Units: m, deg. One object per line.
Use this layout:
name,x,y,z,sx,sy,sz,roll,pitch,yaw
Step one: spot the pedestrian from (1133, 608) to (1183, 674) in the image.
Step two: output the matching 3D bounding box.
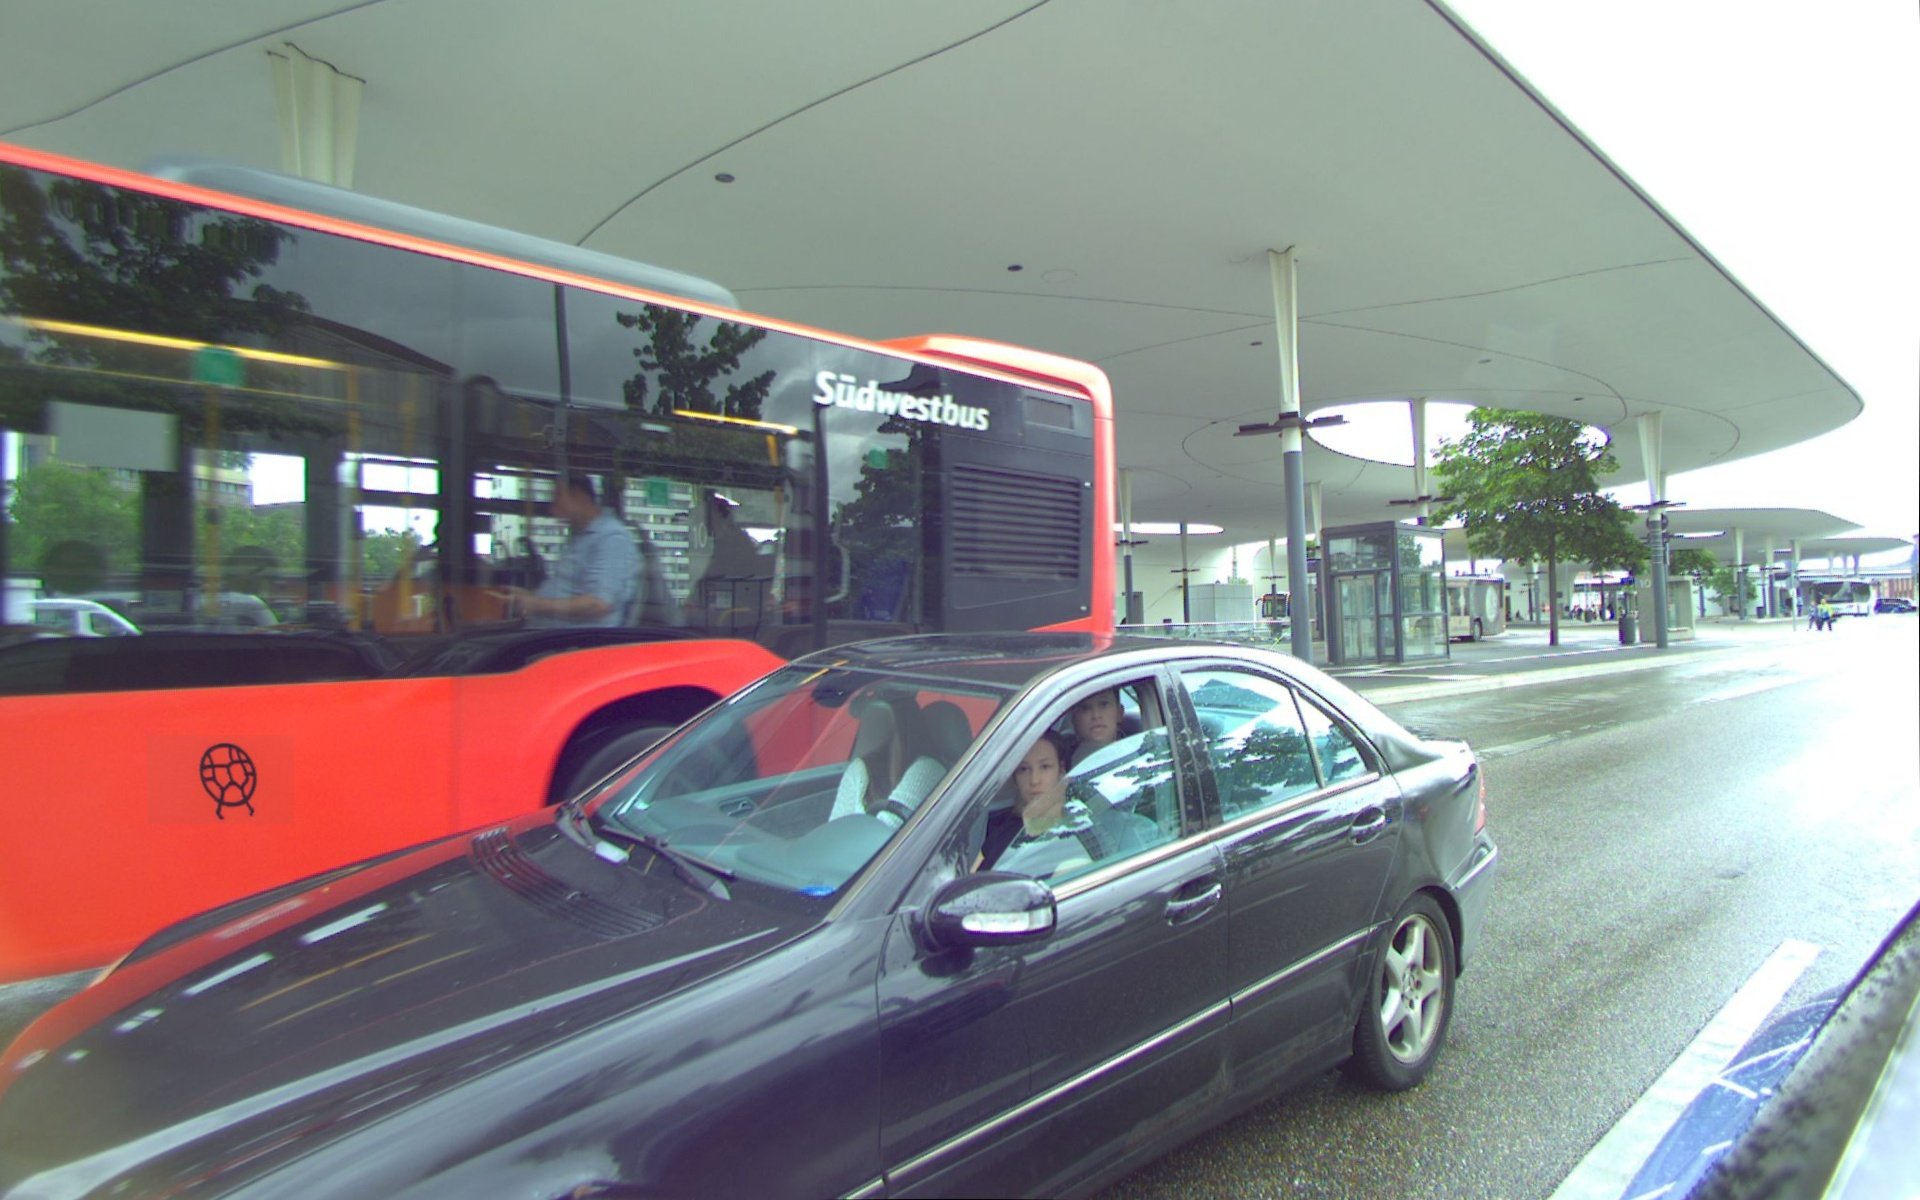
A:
pedestrian,3.887,0.791,19.870,0.657,1.268,0.692,0,-1,-41

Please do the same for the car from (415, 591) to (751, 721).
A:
car,-5.517,0.750,15.133,4.356,1.671,1.803,0,-3,-41

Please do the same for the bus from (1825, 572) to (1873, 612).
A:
bus,75.366,-0.671,85.711,2.666,3.169,9.565,-1,-1,43

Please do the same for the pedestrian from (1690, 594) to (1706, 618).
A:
pedestrian,51.584,0.420,70.730,0.740,1.651,0.723,0,-1,-41

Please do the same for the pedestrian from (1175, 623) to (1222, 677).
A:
pedestrian,4.522,0.933,19.208,0.626,0.974,0.622,0,-1,-41

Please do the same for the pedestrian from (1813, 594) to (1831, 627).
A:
pedestrian,43.534,0.508,51.093,0.577,1.645,0.576,0,-1,-41

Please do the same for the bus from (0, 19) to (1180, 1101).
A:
bus,-2.382,-0.129,5.271,7.980,3.214,2.746,0,0,-42

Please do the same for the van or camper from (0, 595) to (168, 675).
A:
van or camper,-29.784,1.105,33.225,5.868,2.495,2.106,0,-1,-41

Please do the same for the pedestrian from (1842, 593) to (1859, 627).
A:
pedestrian,44.056,0.492,50.066,0.543,1.645,0.556,0,-1,-41

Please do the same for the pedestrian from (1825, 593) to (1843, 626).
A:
pedestrian,43.703,0.491,50.607,0.543,1.645,0.556,0,-1,-41

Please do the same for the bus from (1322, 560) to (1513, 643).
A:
bus,19.973,0.050,43.552,12.145,3.146,2.999,0,-1,-43

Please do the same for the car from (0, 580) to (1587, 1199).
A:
car,0.067,0.797,3.030,4.358,1.499,1.748,-2,-3,-41
